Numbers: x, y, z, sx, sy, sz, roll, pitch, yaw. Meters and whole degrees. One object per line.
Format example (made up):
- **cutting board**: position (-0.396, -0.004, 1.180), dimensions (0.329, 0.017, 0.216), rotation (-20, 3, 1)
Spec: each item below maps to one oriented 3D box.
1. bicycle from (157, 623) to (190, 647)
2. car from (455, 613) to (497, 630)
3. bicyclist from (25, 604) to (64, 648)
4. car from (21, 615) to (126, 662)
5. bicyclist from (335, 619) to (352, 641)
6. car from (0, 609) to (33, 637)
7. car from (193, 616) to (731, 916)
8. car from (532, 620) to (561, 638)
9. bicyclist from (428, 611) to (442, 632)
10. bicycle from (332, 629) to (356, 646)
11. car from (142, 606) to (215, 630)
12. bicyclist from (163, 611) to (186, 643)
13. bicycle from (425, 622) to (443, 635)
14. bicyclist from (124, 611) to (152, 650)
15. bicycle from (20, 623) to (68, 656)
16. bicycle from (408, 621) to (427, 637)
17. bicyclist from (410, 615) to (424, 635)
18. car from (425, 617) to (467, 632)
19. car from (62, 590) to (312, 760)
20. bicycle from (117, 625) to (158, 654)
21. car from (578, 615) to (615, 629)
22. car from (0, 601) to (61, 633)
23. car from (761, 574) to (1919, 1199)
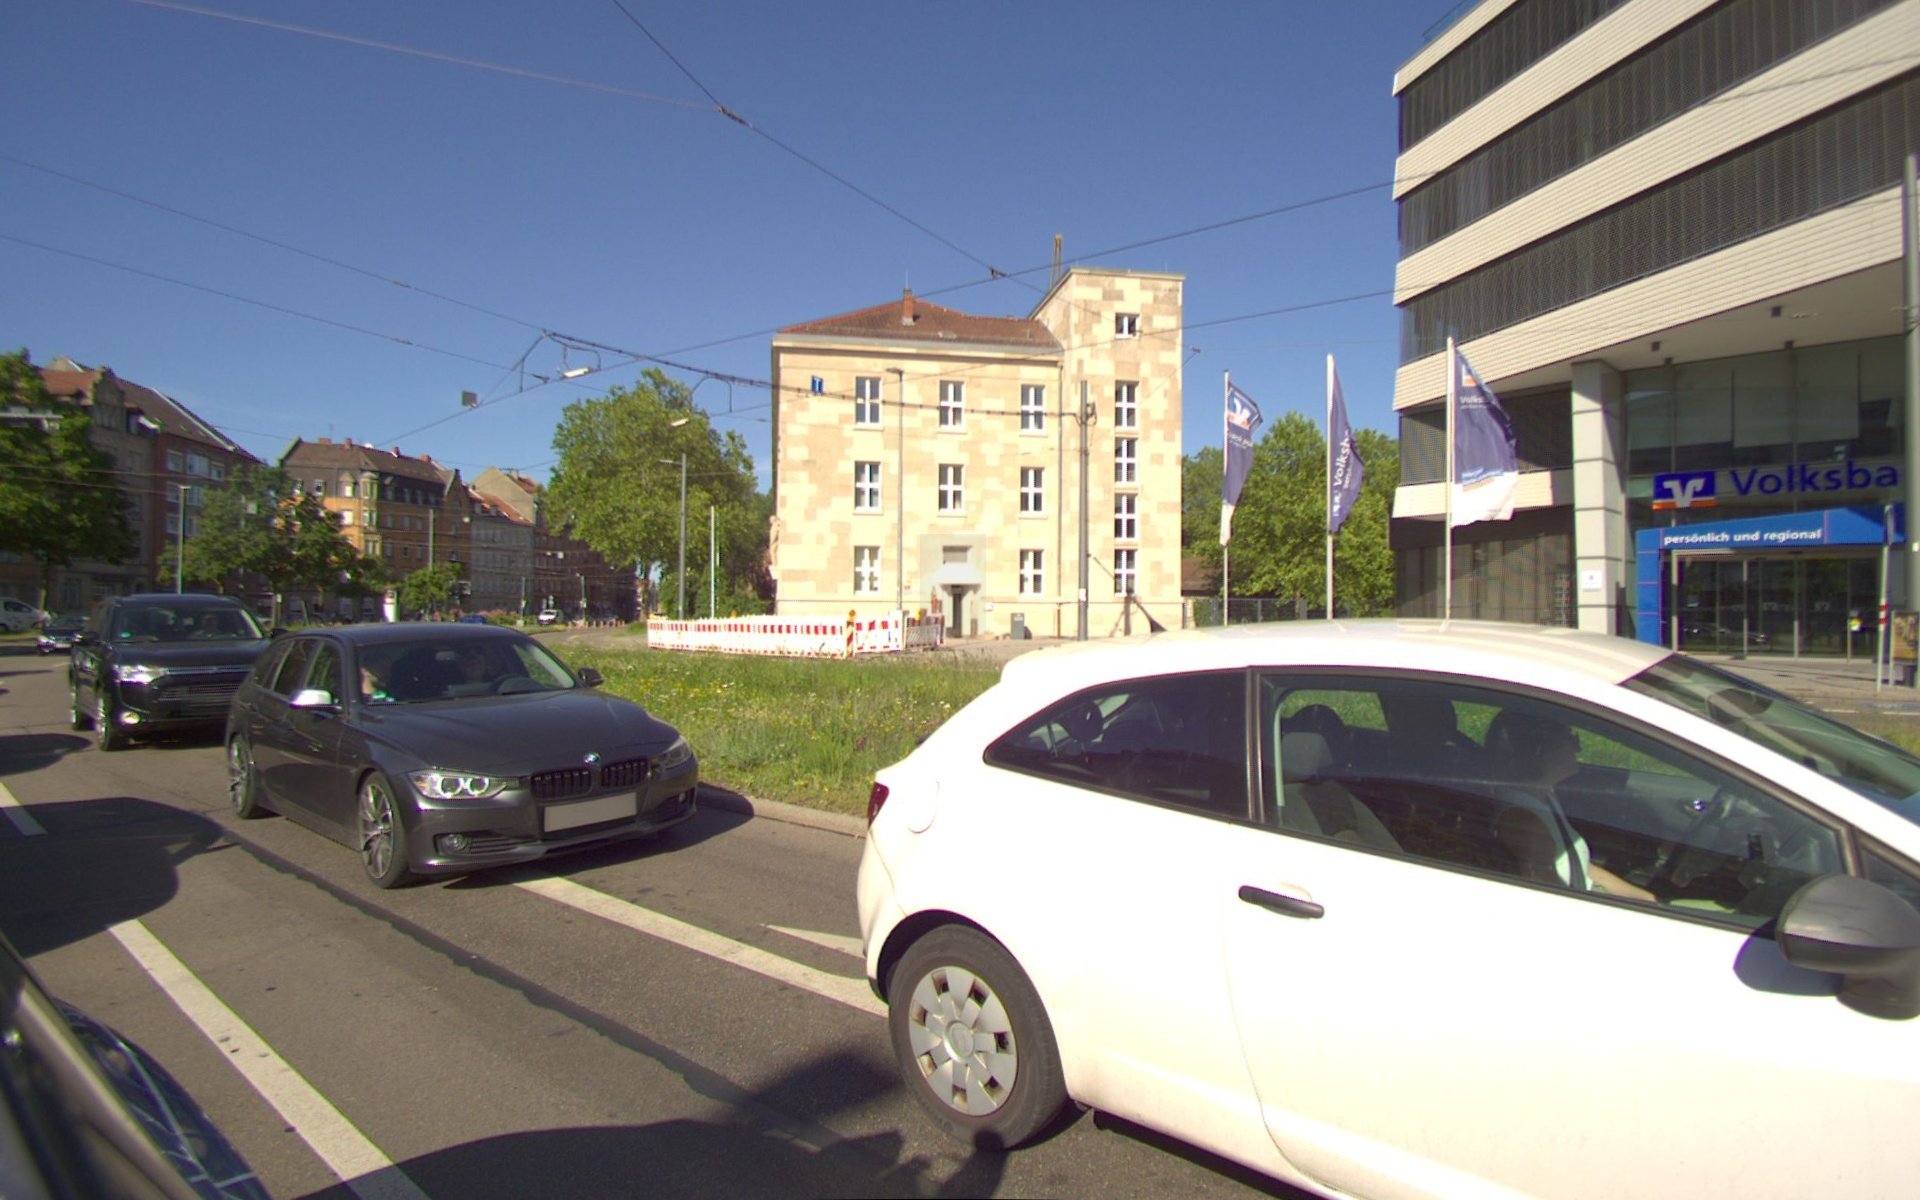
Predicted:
- **bicycle**: position (-40.709, 1.807, 52.408), dimensions (0.627, 1.206, 2.161), rotation (0, -1, -18)
- **car**: position (-56.568, 2.536, 118.331), dimensions (4.274, 1.896, 1.847), rotation (2, -1, -28)
- **bicyclist**: position (-37.425, 1.069, 41.385), dimensions (0.704, 1.739, 1.097), rotation (1, -3, -15)
- **car**: position (-33.231, 1.402, 38.058), dimensions (1.809, 1.659, 4.162), rotation (1, -1, -25)
- **bicyclist**: position (-44.842, 2.172, 73.618), dimensions (0.659, 1.641, 0.973), rotation (0, -1, -6)
- **car**: position (-48.768, 1.142, 50.384), dimensions (3.768, 1.390, 1.602), rotation (2, -2, -41)
- **car**: position (-3.600, 0.823, 6.879), dimensions (4.424, 1.377, 1.719), rotation (-1, 0, 41)
- **car**: position (-49.883, 3.427, 122.194), dimensions (1.953, 2.101, 4.719), rotation (1, -1, -5)
- **bicyclist**: position (-49.257, 2.016, 94.907), dimensions (0.836, 2.029, 1.198), rotation (0, -1, -8)
- **bicycle**: position (-44.856, 2.689, 73.720), dimensions (0.659, 1.206, 2.157), rotation (0, -1, -6)
- **car**: position (-53.935, 1.263, 69.872), dimensions (3.771, 1.603, 1.601), rotation (2, -2, -44)
- **bicyclist**: position (-40.659, 1.401, 52.387), dimensions (0.620, 1.641, 0.974), rotation (0, -1, -18)
- **bicycle**: position (-49.254, 2.665, 94.854), dimensions (0.752, 1.153, 2.287), rotation (0, -1, -8)
- **bicyclist**: position (-39.937, 1.473, 49.187), dimensions (0.796, 1.880, 0.752), rotation (1, 0, -16)
- **bicycle**: position (-37.417, 1.614, 41.354), dimensions (0.704, 1.337, 1.754), rotation (1, -3, -16)
- **bicycle**: position (-47.586, 2.522, 88.769), dimensions (0.726, 1.371, 2.078), rotation (0, -1, -6)
- **bicyclist**: position (-47.559, 2.207, 88.620), dimensions (0.724, 1.707, 0.972), rotation (0, -1, -6)
- **car**: position (-58.643, 2.777, 115.499), dimensions (4.002, 1.669, 1.771), rotation (1, -1, -13)
- **car**: position (-9.382, 0.768, 12.130), dimensions (1.817, 1.658, 4.400), rotation (-1, -1, -45)
- **bicycle**: position (-39.973, 1.904, 49.224), dimensions (0.746, 1.310, 2.161), rotation (1, -1, -17)
- **car**: position (-42.762, 2.583, 119.228), dimensions (4.001, 1.669, 1.772), rotation (1, -1, -16)
- **car**: position (-49.933, 0.882, 52.790), dimensions (4.514, 1.680, 1.601), rotation (2, -2, -43)
- **car**: position (1.480, 0.691, 2.480), dimensions (4.020, 1.452, 1.714), rotation (0, 2, 40)
